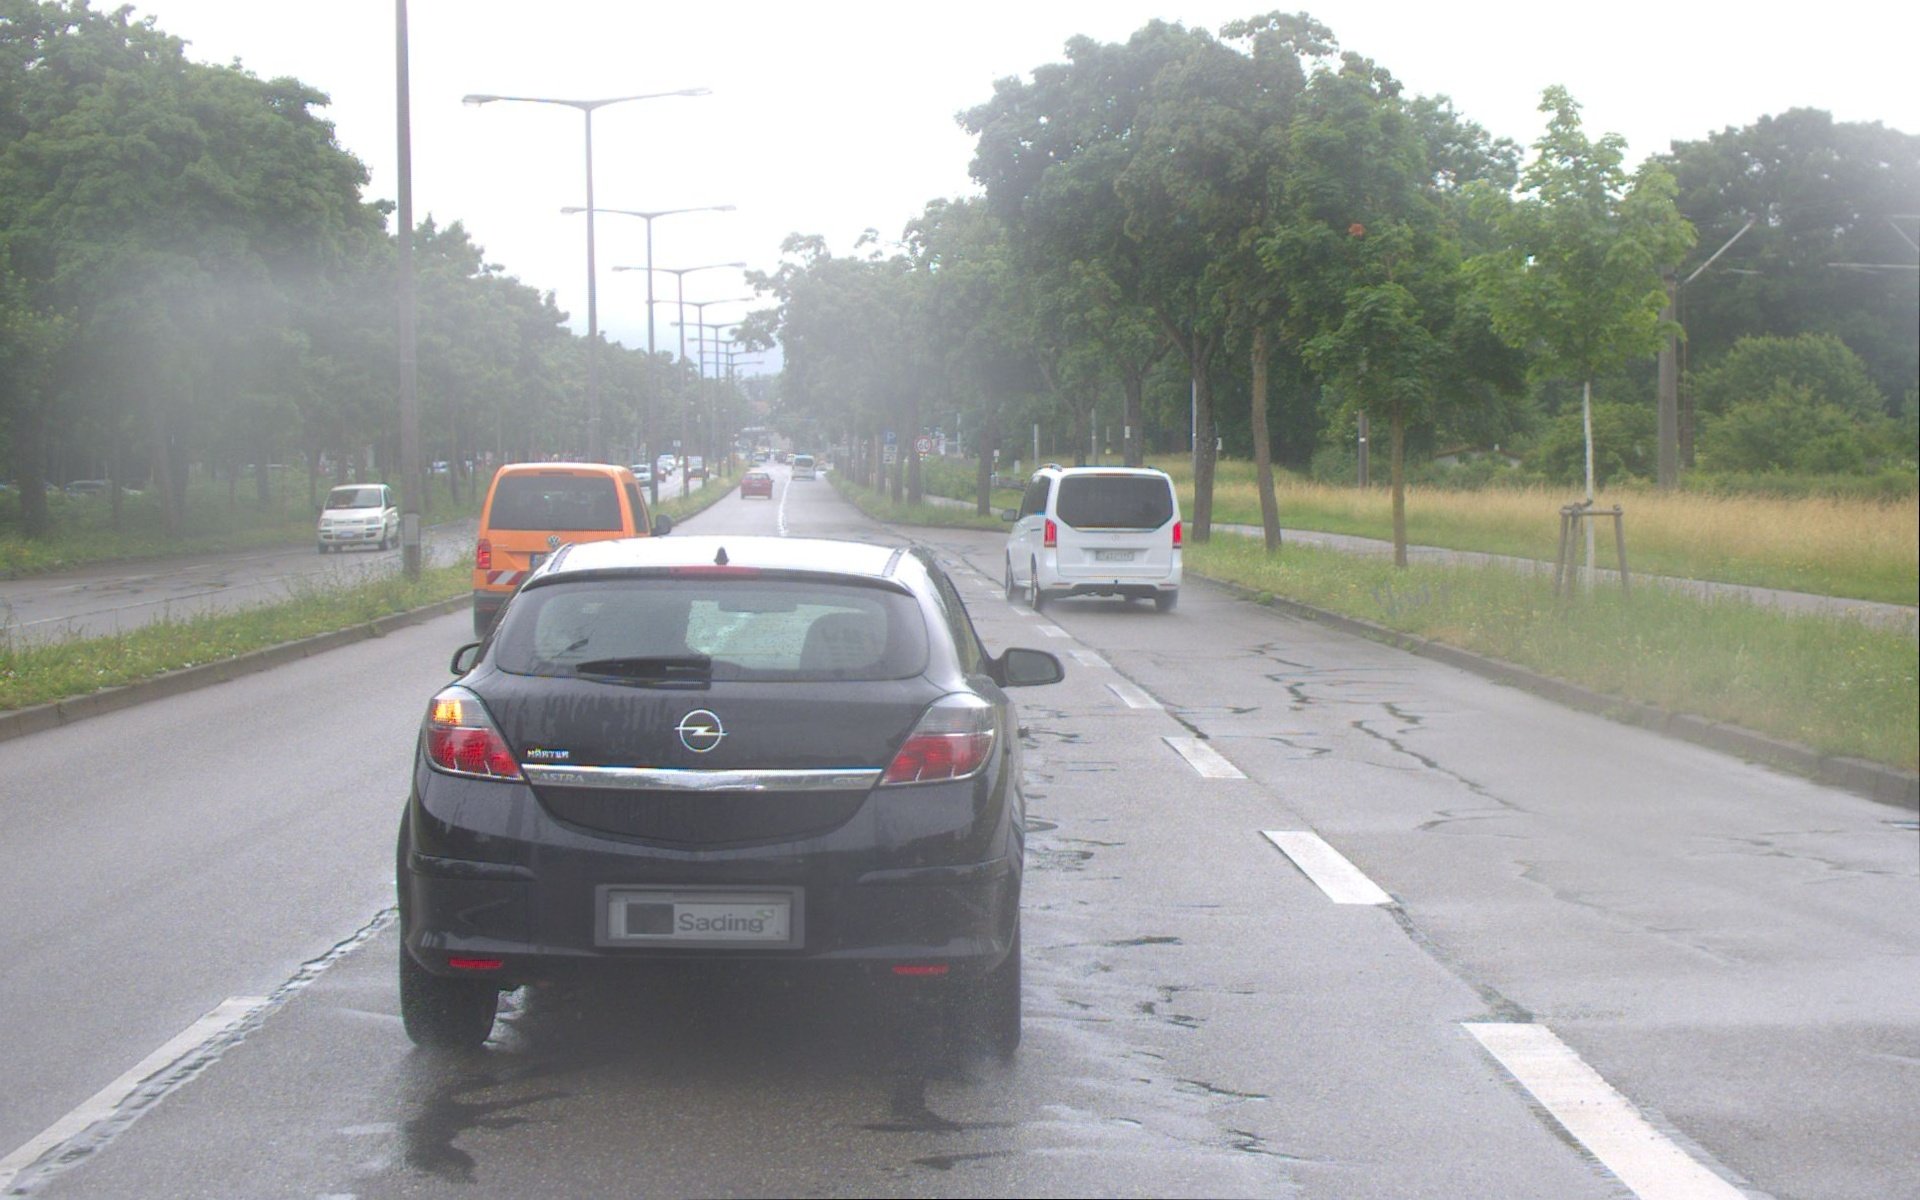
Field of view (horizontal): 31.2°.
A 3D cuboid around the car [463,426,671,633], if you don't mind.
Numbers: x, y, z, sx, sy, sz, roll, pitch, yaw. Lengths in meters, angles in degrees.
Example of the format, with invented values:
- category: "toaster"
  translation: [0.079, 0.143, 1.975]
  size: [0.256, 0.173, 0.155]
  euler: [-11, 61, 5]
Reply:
- category: "car"
  translation: [-4.102, -0.773, 36.546]
  size: [1.734, 2.012, 4.850]
  euler: [1, 2, -1]

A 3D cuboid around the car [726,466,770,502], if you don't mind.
- category: "car"
  translation: [-11.147, -6.103, 181.053]
  size: [1.993, 1.873, 4.000]
  euler: [1, 2, 1]

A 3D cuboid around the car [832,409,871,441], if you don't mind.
- category: "car"
  translation: [-7.384, -11.855, 233.465]
  size: [2.516, 2.045, 5.294]
  euler: [2, 2, -2]

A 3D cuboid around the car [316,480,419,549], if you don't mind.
- category: "car"
  translation: [-13.911, -2.019, 80.870]
  size: [1.683, 1.548, 4.000]
  euler: [1, 2, 0]

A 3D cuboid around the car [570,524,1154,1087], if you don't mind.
- category: "car"
  translation: [-0.208, 0.478, 10.554]
  size: [1.463, 1.324, 3.758]
  euler: [1, 2, 1]

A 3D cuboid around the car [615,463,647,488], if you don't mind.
- category: "car"
  translation: [-21.259, -8.084, 222.387]
  size: [1.720, 1.524, 3.810]
  euler: [0, 3, -1]

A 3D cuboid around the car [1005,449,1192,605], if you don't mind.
- category: "car"
  translation: [1.808, -1.002, 46.341]
  size: [2.059, 1.967, 4.609]
  euler: [1, 2, -3]
